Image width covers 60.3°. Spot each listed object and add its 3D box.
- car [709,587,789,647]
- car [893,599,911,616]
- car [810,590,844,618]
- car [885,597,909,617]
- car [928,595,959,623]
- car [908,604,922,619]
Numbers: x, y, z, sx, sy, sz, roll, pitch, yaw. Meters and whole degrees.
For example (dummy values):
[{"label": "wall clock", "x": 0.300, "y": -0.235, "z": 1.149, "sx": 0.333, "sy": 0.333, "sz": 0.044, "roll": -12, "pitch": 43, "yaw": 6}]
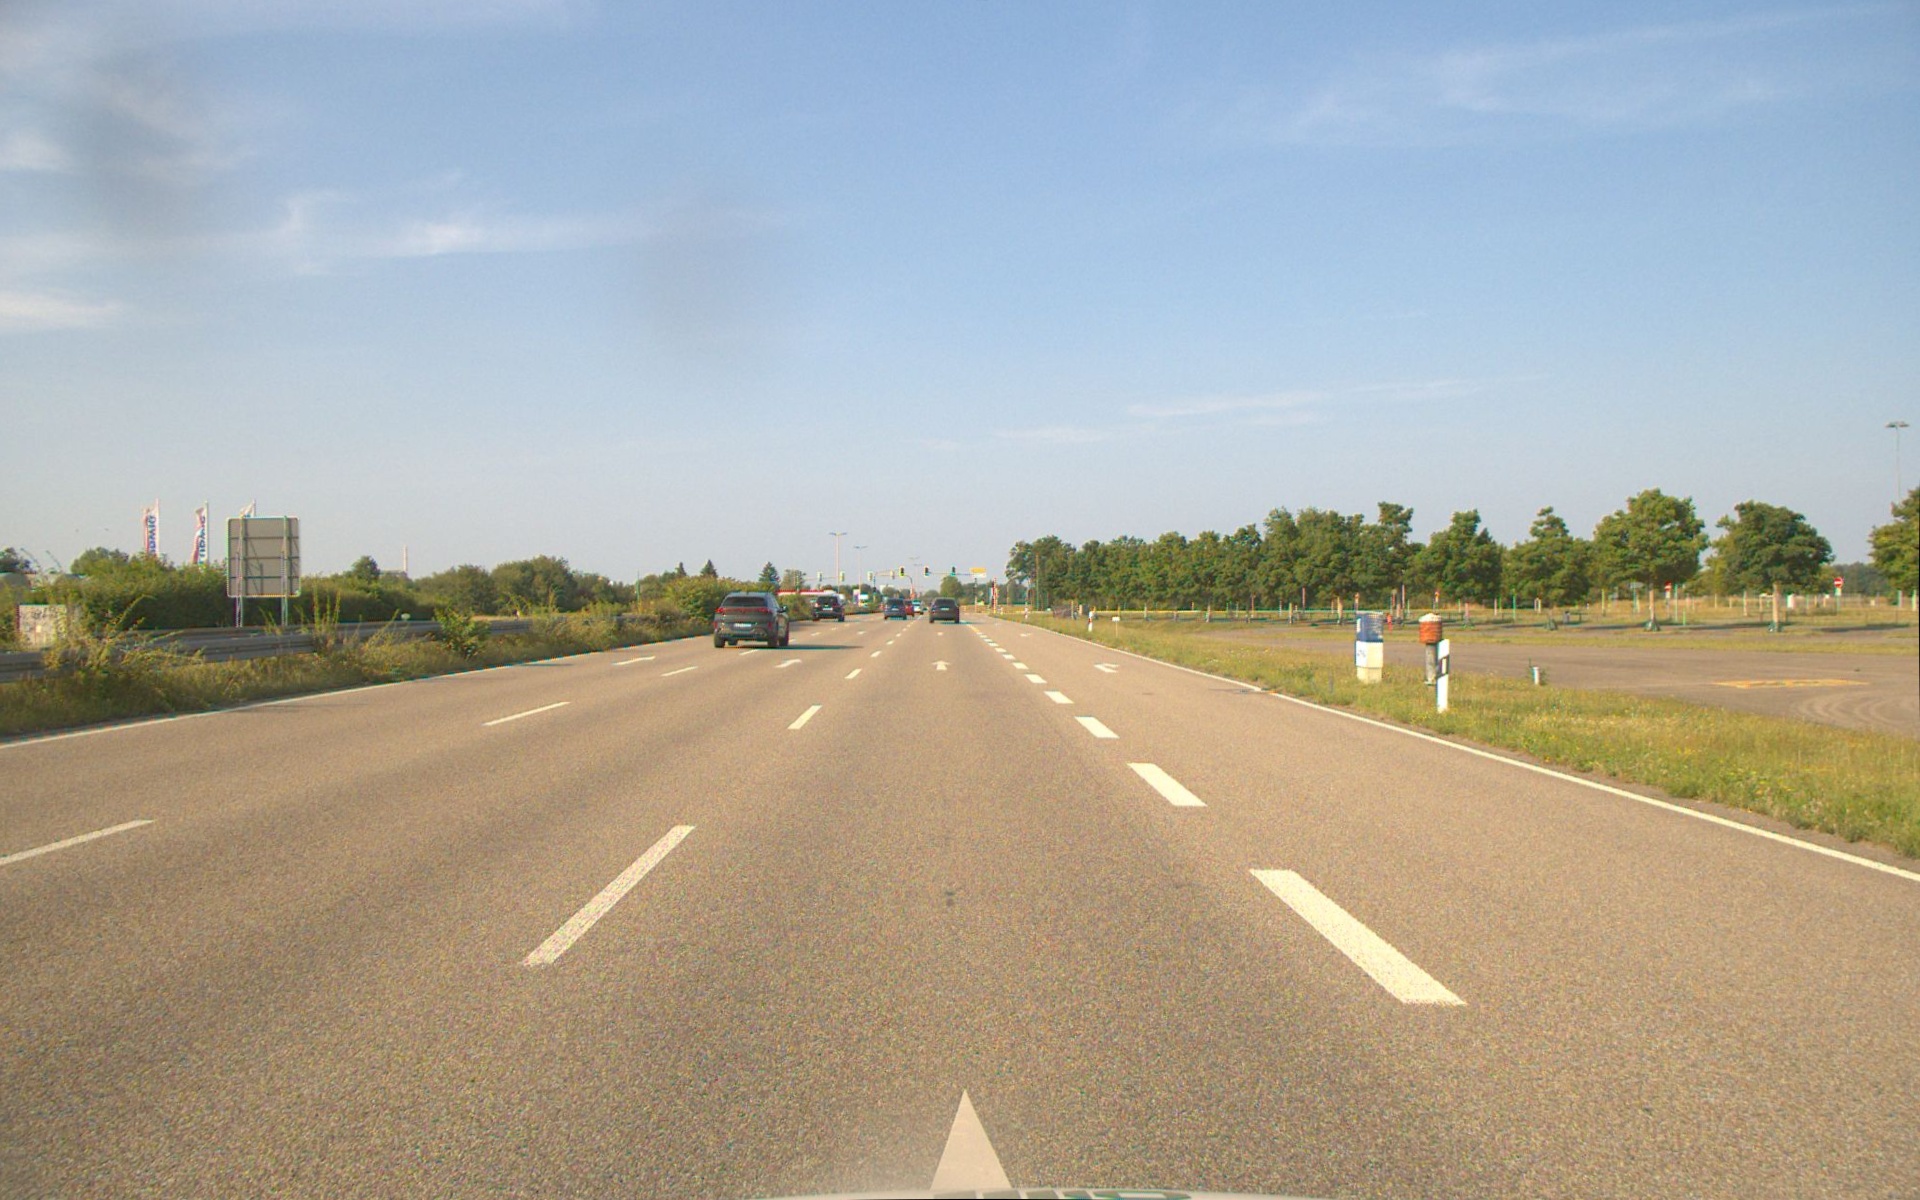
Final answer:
[{"label": "car", "x": -6.168, "y": 0.482, "z": 48.762, "sx": 1.808, "sy": 1.640, "sz": 4.400, "roll": 2, "pitch": 0, "yaw": -1}, {"label": "car", "x": -5.577, "y": 0.701, "z": 158.367, "sx": 1.614, "sy": 1.489, "sz": 3.980, "roll": 2, "pitch": 0, "yaw": -1}, {"label": "car", "x": -8.610, "y": 0.262, "z": 107.333, "sx": 1.893, "sy": 1.709, "sz": 4.400, "roll": 2, "pitch": 0, "yaw": -1}, {"label": "car", "x": -5.044, "y": 0.524, "z": 132.015, "sx": 1.776, "sy": 1.489, "sz": 4.400, "roll": 2, "pitch": 0, "yaw": -1}, {"label": "car", "x": -1.077, "y": 0.568, "z": 106.930, "sx": 1.893, "sy": 1.709, "sz": 4.400, "roll": 2, "pitch": 0, "yaw": -1}, {"label": "car", "x": -5.504, "y": 1.370, "z": 202.379, "sx": 1.612, "sy": 1.758, "sz": 3.400, "roll": 1, "pitch": -1, "yaw": -1}]
